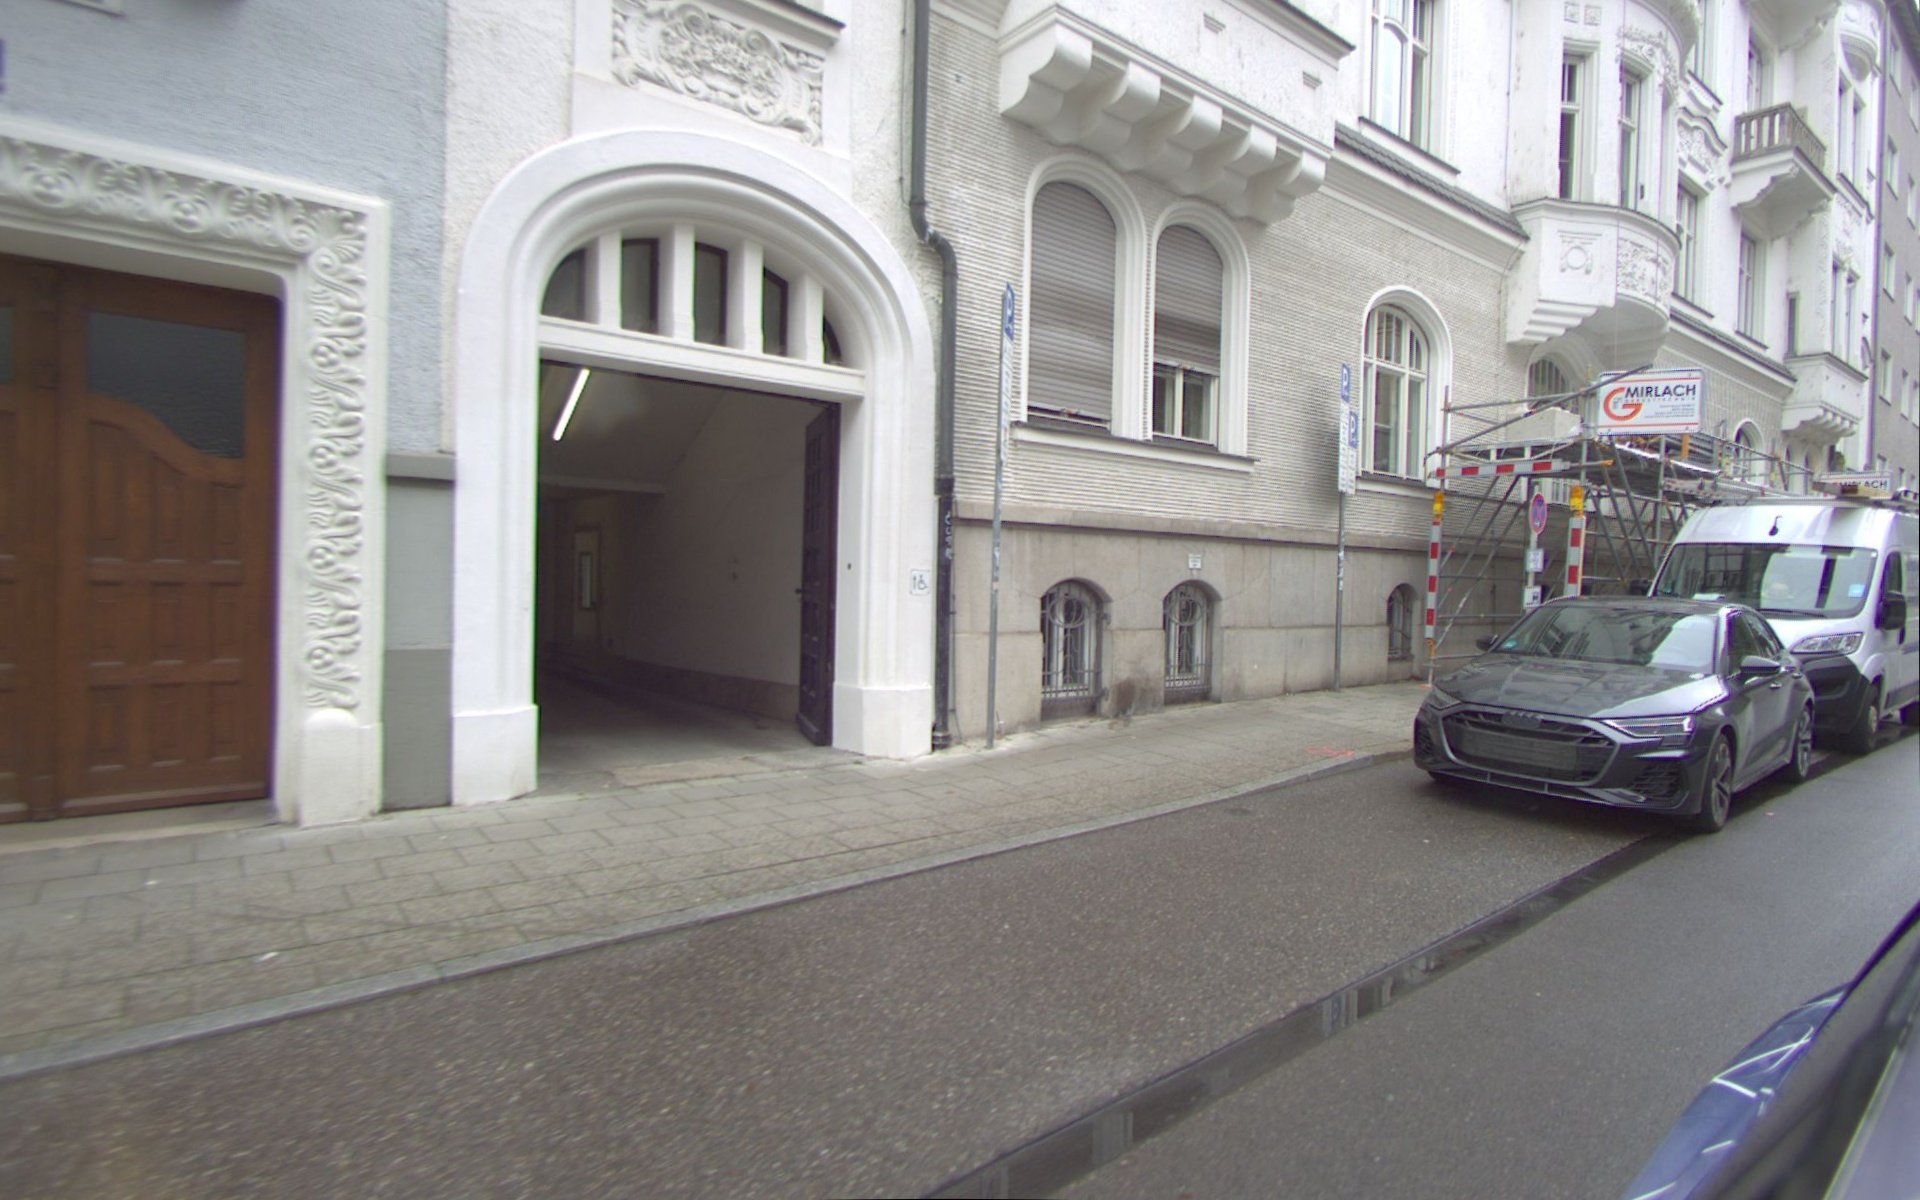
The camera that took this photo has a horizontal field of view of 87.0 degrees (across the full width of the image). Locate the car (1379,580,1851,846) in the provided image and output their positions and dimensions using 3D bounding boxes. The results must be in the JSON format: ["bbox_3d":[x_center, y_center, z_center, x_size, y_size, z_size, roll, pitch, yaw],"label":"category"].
[{"bbox_3d":[5.064,0.600,7.601,4.169,1.425,1.792,0,2,-40],"label":"car"}]

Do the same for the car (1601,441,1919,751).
[{"bbox_3d":[9.477,-0.098,11.353,5.345,2.721,2.083,0,3,-38],"label":"car"}]

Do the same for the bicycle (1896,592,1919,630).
[{"bbox_3d":[28.983,0.319,30.708,1.812,1.131,0.593,0,2,-40],"label":"bicycle"}]
